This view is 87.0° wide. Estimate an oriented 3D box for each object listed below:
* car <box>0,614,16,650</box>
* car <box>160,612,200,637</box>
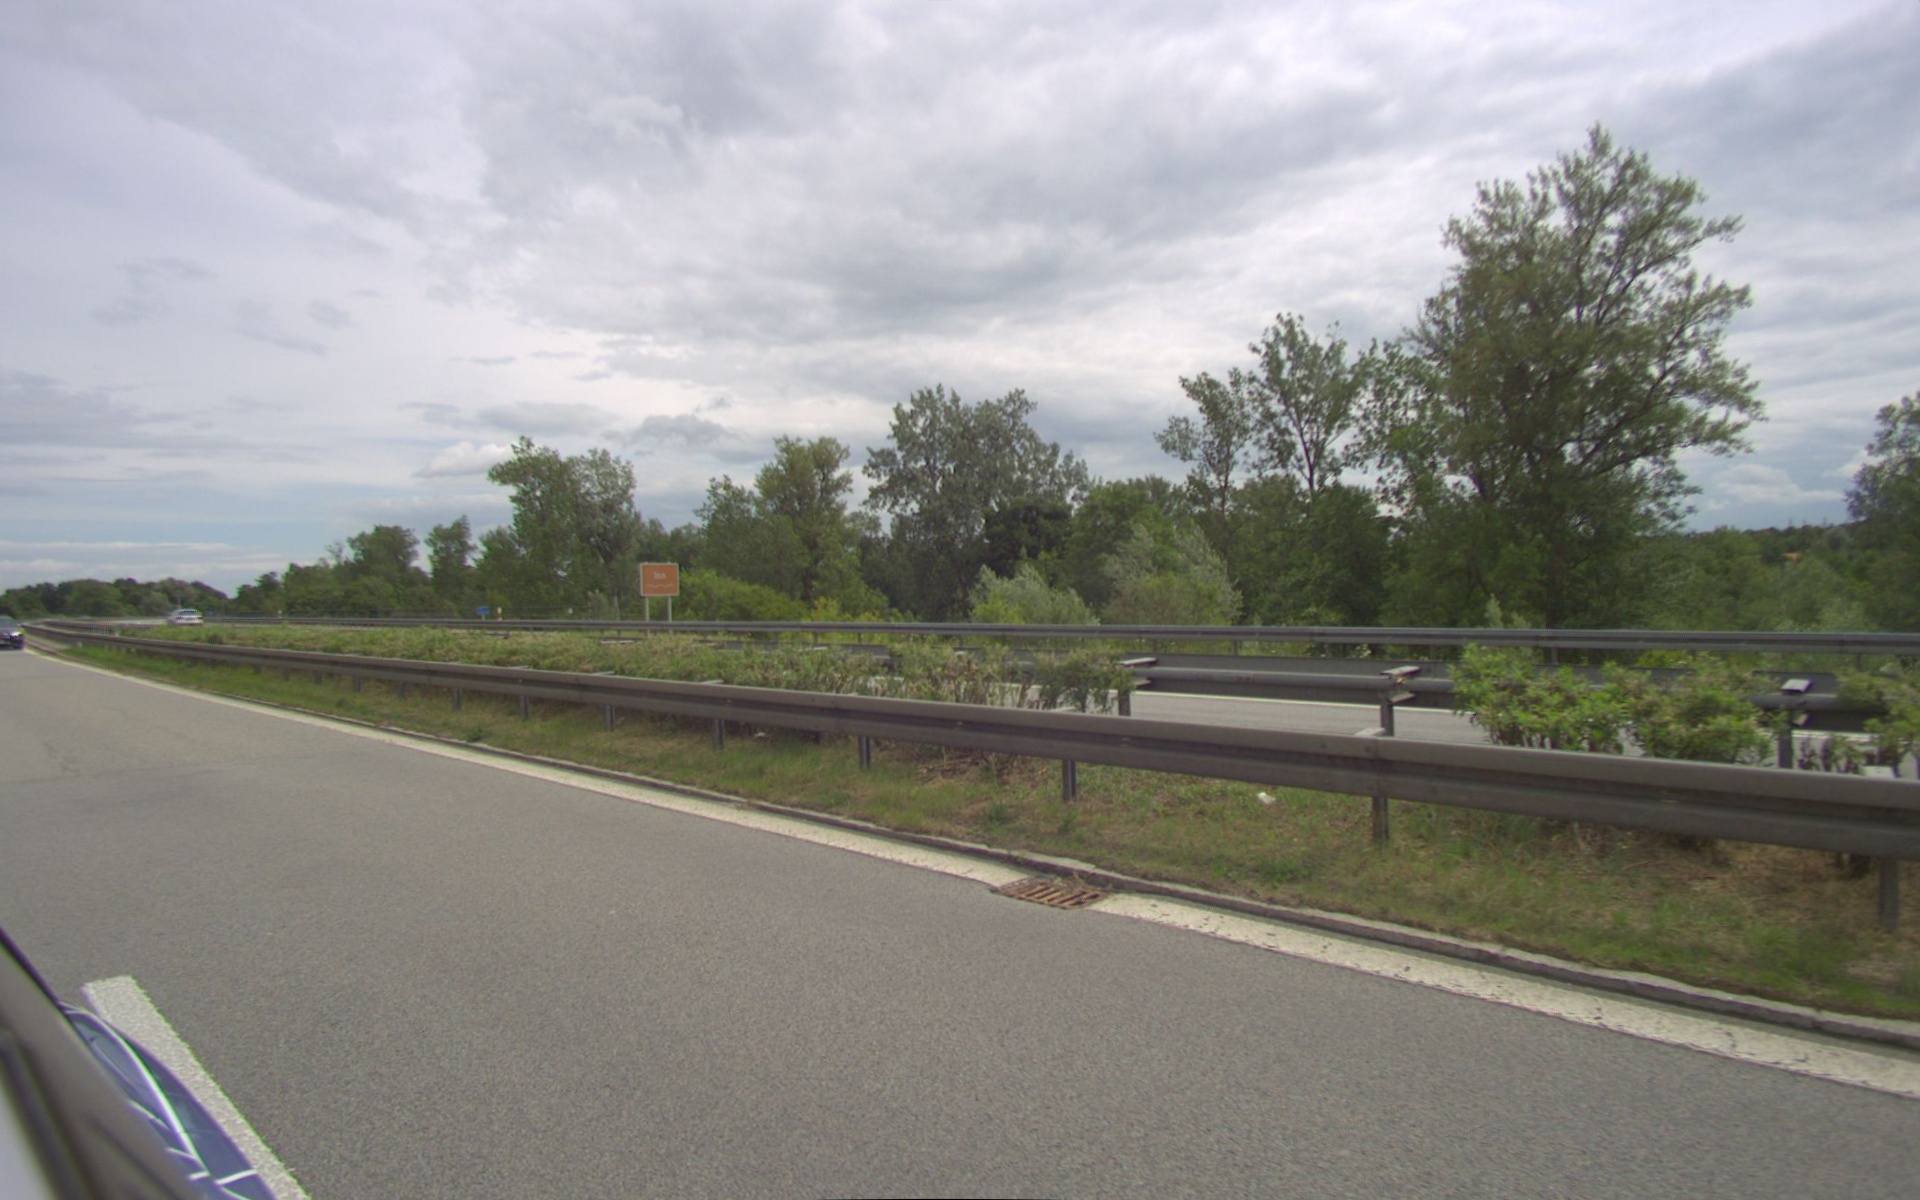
[{"bbox_3d":[-42.514,1.439,44.068,4.697,1.494,1.751,-3,-3,43],"label":"car"},{"bbox_3d":[-55.463,1.725,71.915,1.624,1.728,4.983,-1,0,-45],"label":"car"}]
